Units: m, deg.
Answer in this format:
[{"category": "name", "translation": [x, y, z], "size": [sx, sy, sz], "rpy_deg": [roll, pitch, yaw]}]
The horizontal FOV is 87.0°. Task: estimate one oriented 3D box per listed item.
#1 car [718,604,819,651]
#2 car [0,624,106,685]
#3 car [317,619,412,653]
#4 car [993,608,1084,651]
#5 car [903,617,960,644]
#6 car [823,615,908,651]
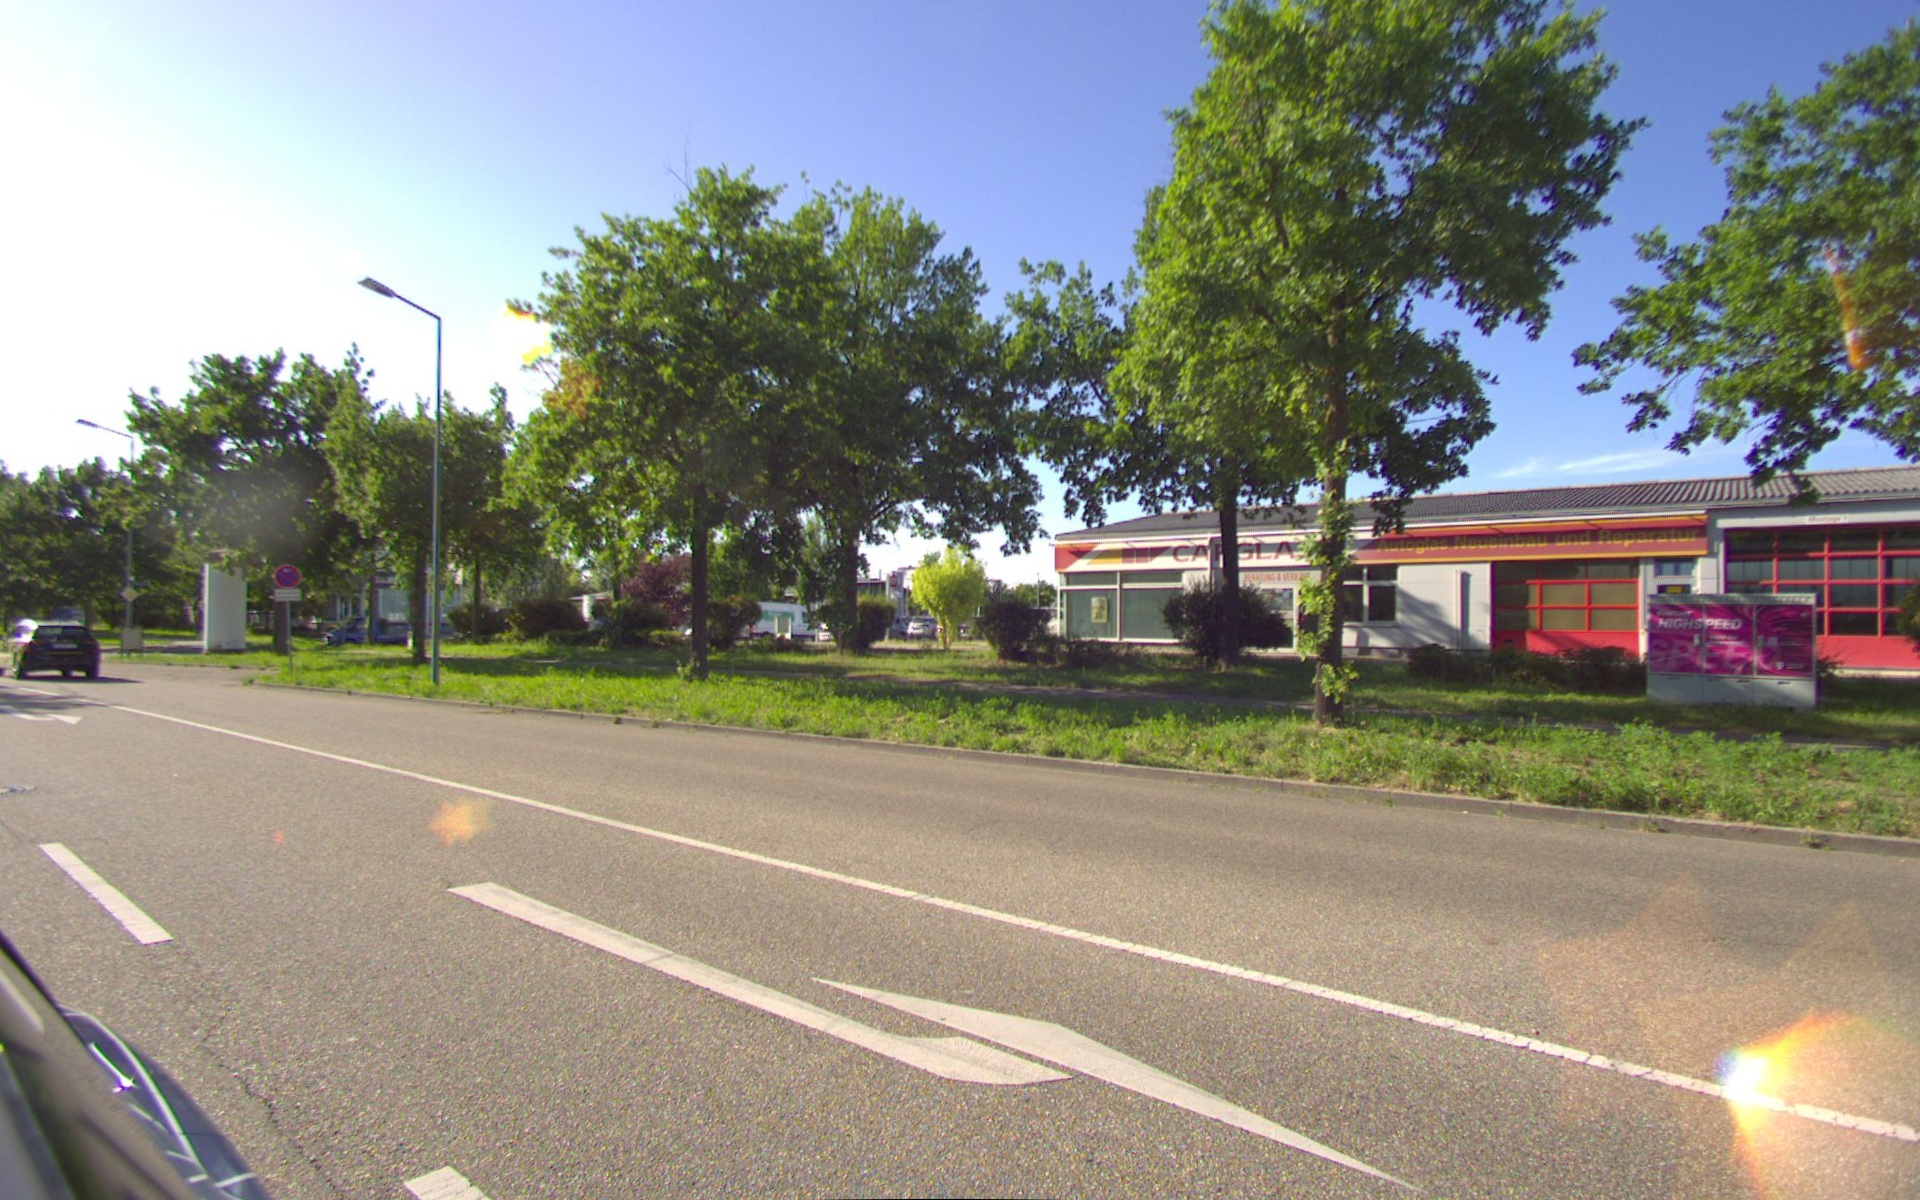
[{"category": "car", "translation": [-11.466, 1.595, 61.001], "size": [2.406, 2.574, 5.952], "rpy_deg": [-1, 0, 36]}, {"category": "car", "translation": [-25.133, 1.450, 27.711], "size": [4.073, 1.537, 1.746], "rpy_deg": [-1, -3, 37]}, {"category": "car", "translation": [-35.985, 2.155, 61.233], "size": [1.999, 1.847, 4.578], "rpy_deg": [-1, 0, 41]}, {"category": "car", "translation": [3.200, 1.153, 40.606], "size": [1.734, 1.583, 3.769], "rpy_deg": [-3, -1, 40]}, {"category": "car", "translation": [-1.886, 2.048, 68.624], "size": [1.761, 1.684, 3.811], "rpy_deg": [-1, 0, 40]}, {"category": "car", "translation": [-5.159, 1.765, 55.790], "size": [1.989, 1.795, 4.583], "rpy_deg": [-1, 0, 40]}]
